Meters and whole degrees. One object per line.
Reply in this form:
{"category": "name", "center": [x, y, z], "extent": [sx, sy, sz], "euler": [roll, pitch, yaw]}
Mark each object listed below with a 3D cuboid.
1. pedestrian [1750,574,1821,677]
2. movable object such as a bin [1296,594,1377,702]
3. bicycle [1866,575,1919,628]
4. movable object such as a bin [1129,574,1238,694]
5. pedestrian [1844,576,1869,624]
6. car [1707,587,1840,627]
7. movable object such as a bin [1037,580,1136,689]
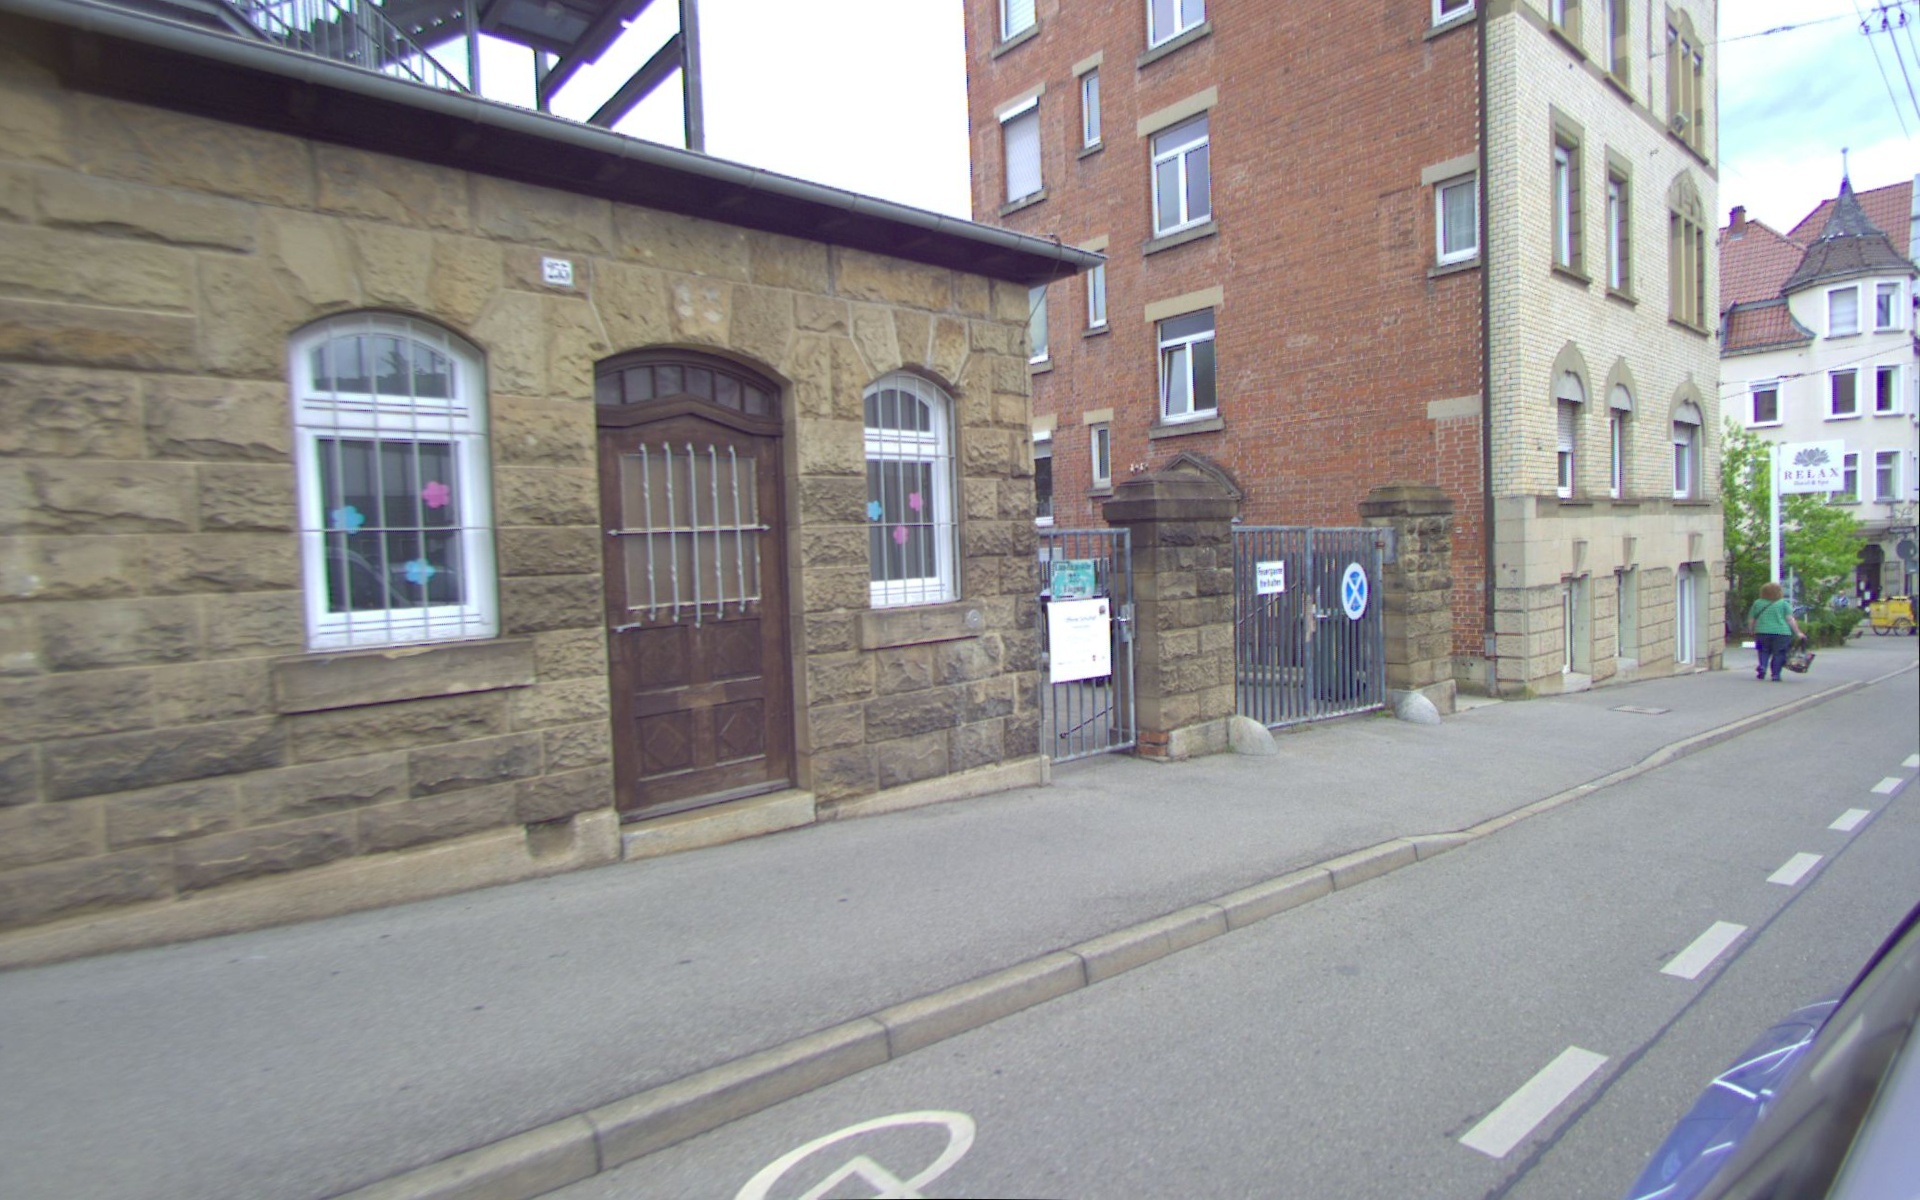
{"category": "pedestrian", "center": [14.239, 0.409, 17.451], "extent": [0.870, 1.707, 0.653], "euler": [2, 2, 43]}
{"category": "movable object such as a bin", "center": [4.476, 0.549, 12.041], "extent": [0.595, 1.234, 0.695], "euler": [0, 0, -41]}
{"category": "bicycle", "center": [34.536, 0.036, 36.448], "extent": [2.678, 1.890, 1.182], "euler": [-1, -1, 1]}
{"category": "movable object such as a bin", "center": [3.030, 0.429, 13.712], "extent": [0.980, 1.533, 1.077], "euler": [0, 0, -41]}
{"category": "pedestrian", "center": [33.692, -0.012, 38.024], "extent": [0.482, 1.790, 0.485], "euler": [0, 0, -7]}
{"category": "car", "center": [31.536, 0.262, 39.305], "extent": [1.553, 1.482, 3.851], "euler": [0, -1, -42]}
{"category": "movable object such as a bin", "center": [1.860, 0.479, 14.929], "extent": [0.980, 1.533, 1.077], "euler": [0, 0, -41]}
